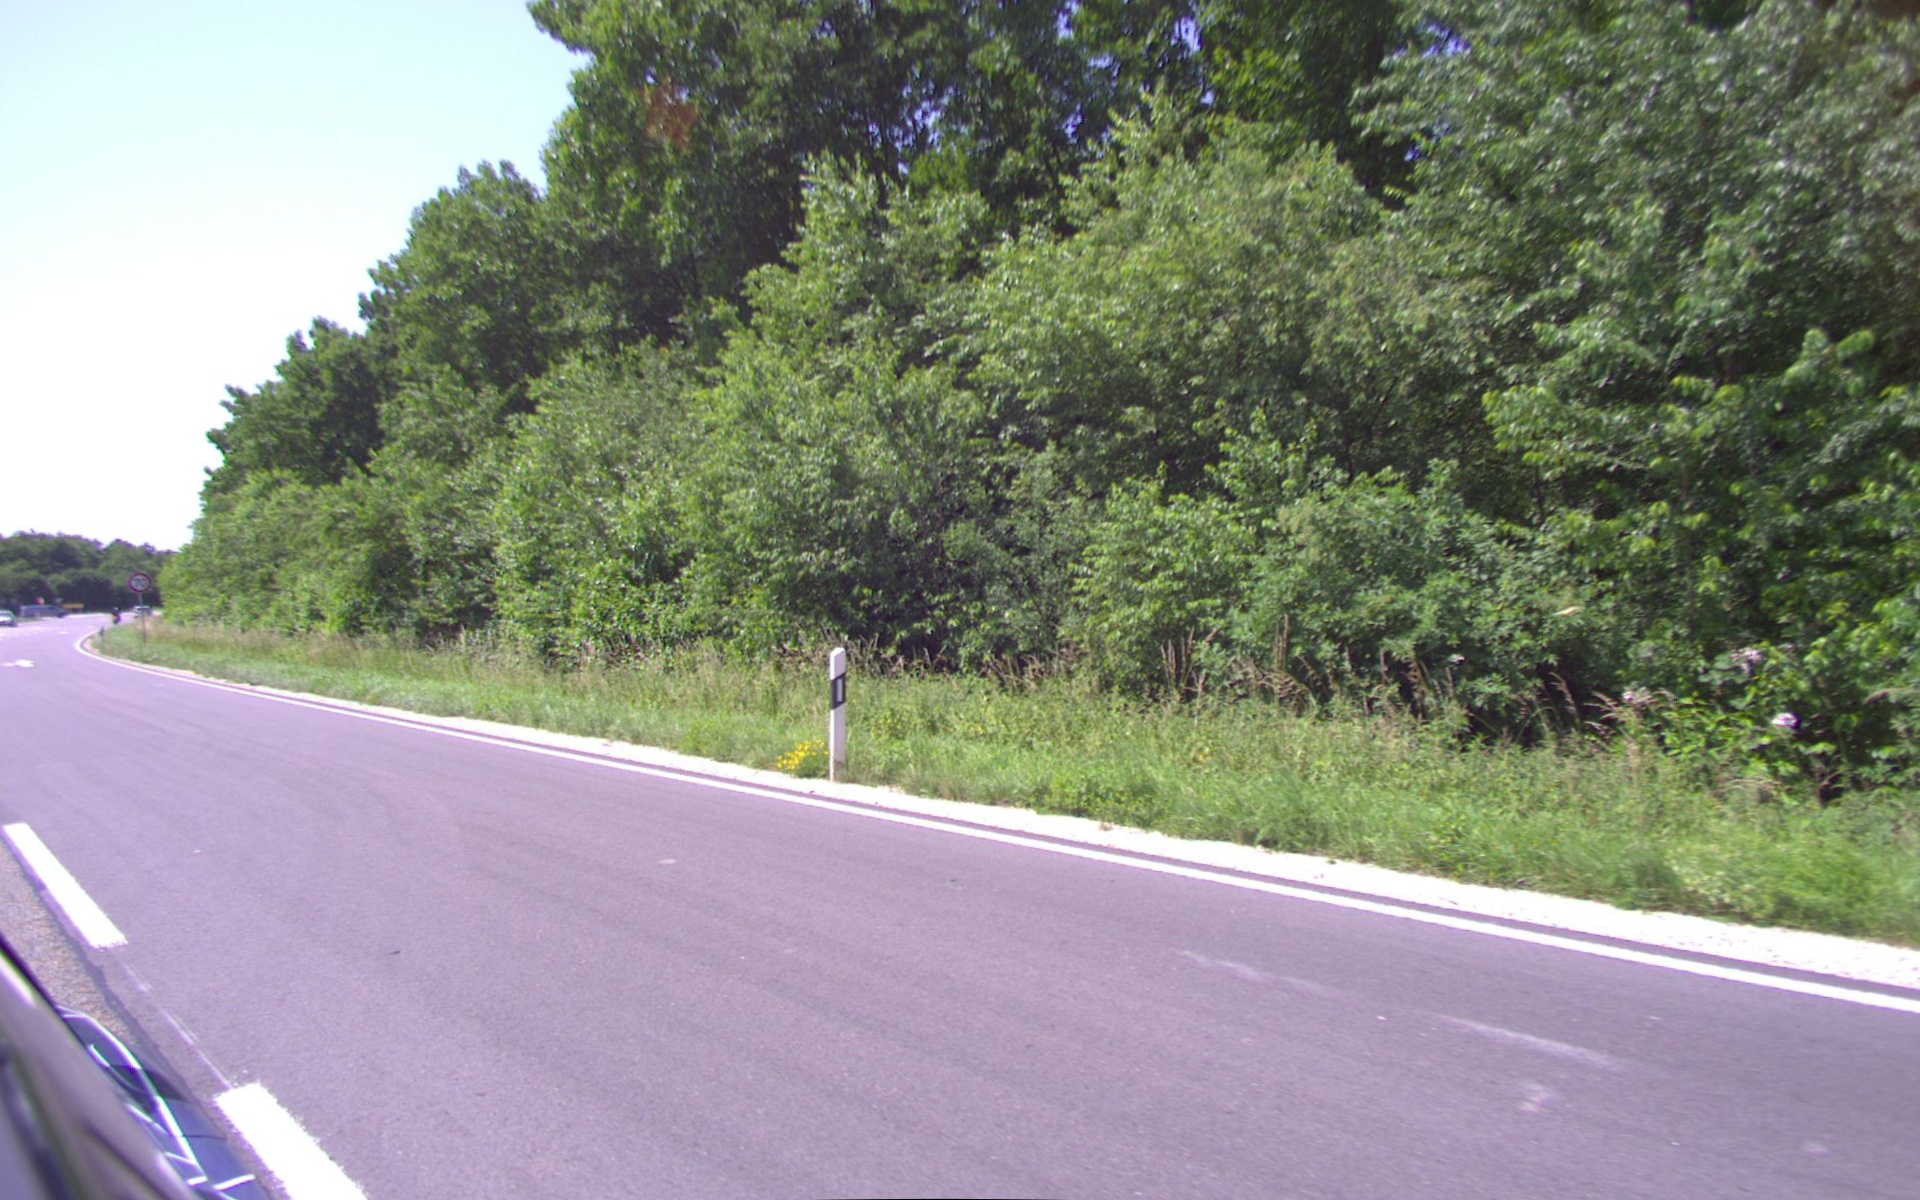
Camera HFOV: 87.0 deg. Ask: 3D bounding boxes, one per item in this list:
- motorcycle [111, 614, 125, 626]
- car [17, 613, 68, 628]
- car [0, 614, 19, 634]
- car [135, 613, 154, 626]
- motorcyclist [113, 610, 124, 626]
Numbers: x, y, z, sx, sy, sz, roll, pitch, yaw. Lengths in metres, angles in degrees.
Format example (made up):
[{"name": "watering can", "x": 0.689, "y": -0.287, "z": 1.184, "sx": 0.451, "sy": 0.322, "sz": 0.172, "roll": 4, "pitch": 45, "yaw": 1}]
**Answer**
[{"name": "motorcycle", "x": -91.177, "y": 2.181, "z": 109.554, "sx": 2.683, "sy": 1.260, "sz": 0.936, "roll": -1, "pitch": -1, "yaw": 44}, {"name": "car", "x": -131.626, "y": 2.884, "z": 145.180, "sx": 2.012, "sy": 1.921, "sz": 5.161, "roll": 0, "pitch": 2, "yaw": 40}, {"name": "car", "x": -93.351, "y": 2.340, "z": 99.089, "sx": 1.783, "sy": 1.821, "sz": 4.004, "roll": -1, "pitch": 0, "yaw": -43}, {"name": "car", "x": -112.461, "y": 2.651, "z": 139.528, "sx": 1.781, "sy": 1.649, "sz": 4.216, "roll": -1, "pitch": 0, "yaw": -43}, {"name": "motorcyclist", "x": -90.657, "y": 1.916, "z": 109.068, "sx": 0.623, "sy": 1.765, "sz": 0.821, "roll": -1, "pitch": 0, "yaw": 43}]
